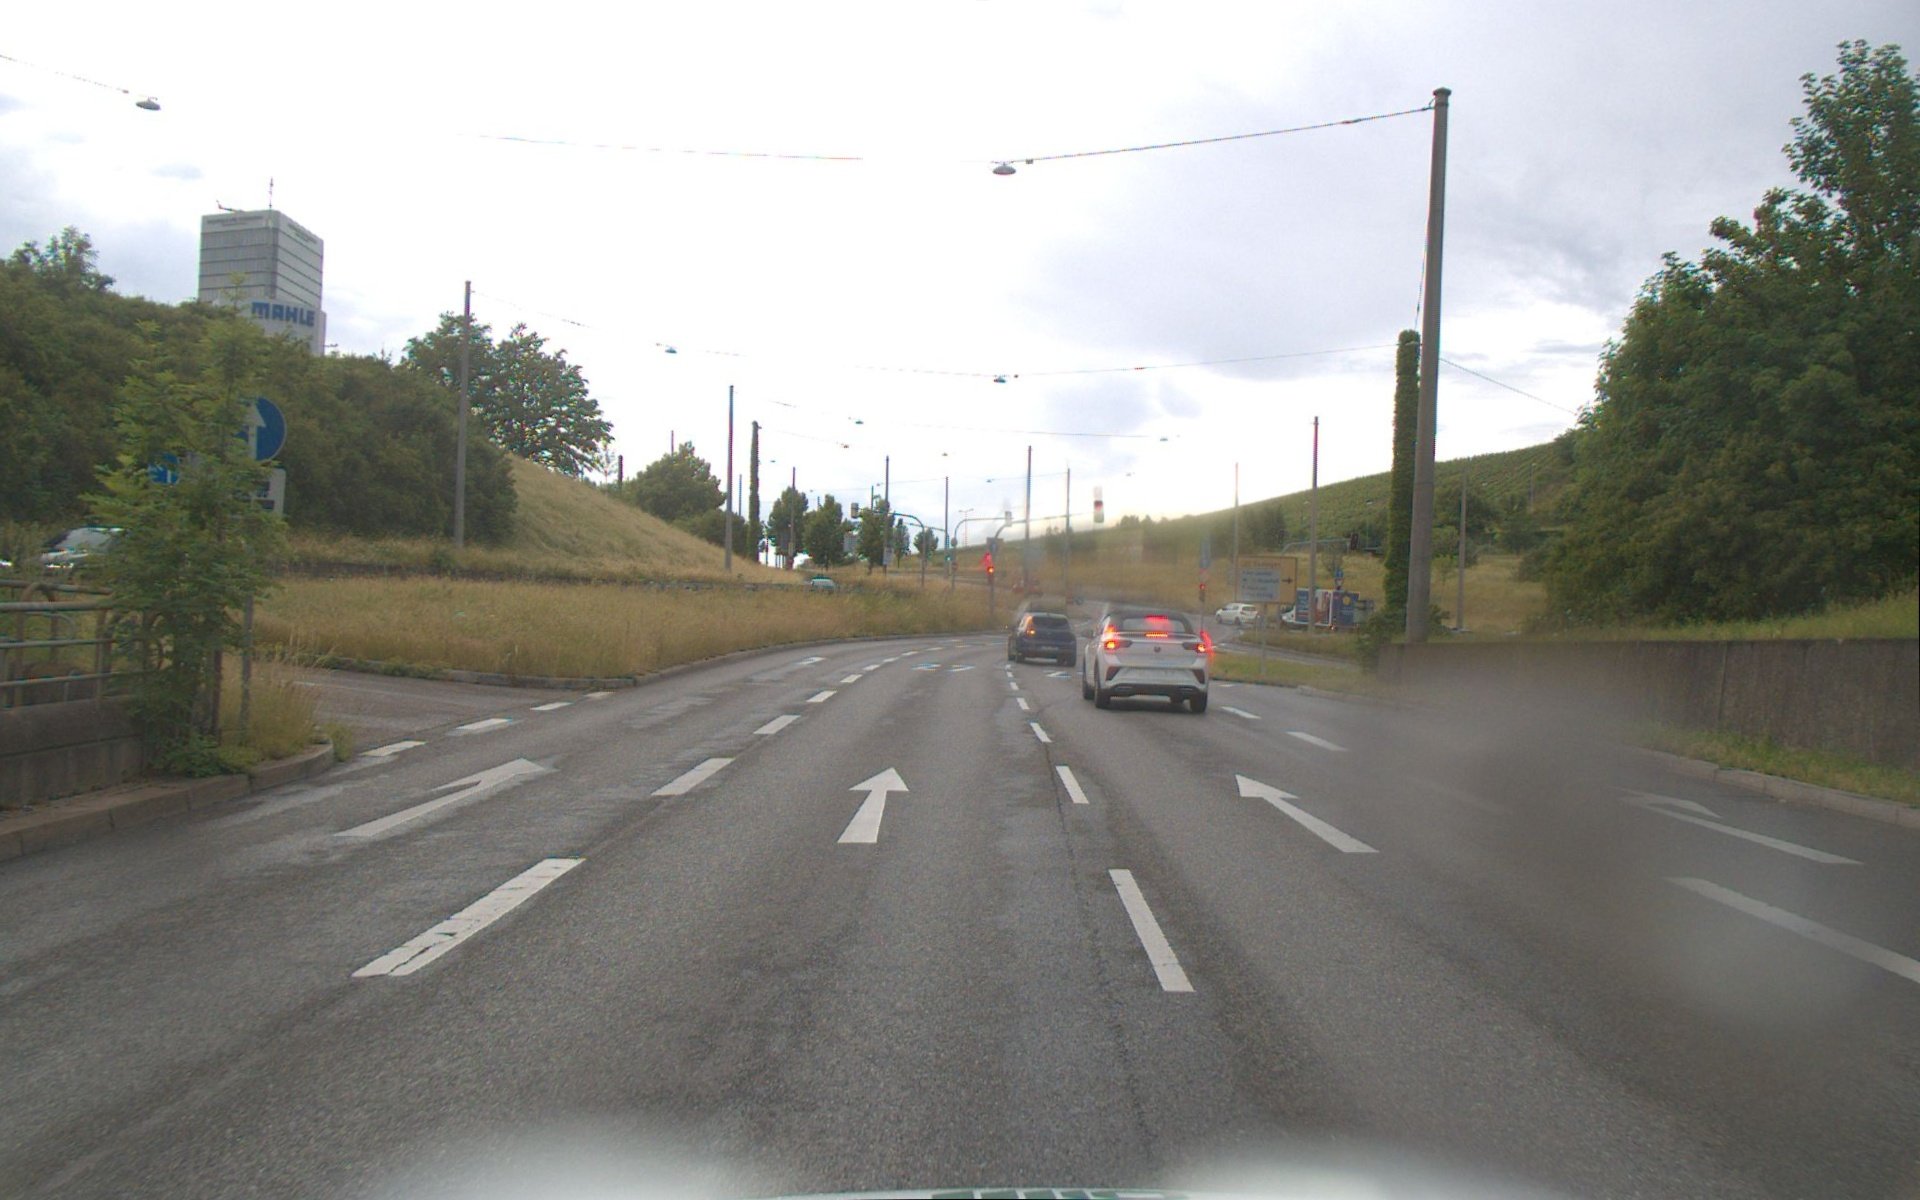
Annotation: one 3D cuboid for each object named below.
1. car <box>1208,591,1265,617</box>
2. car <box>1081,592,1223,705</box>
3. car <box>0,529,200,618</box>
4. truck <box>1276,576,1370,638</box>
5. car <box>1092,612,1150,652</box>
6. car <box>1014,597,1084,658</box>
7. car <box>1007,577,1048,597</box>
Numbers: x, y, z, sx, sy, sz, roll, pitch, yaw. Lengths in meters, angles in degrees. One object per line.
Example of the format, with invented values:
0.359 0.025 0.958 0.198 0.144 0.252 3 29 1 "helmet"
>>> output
19.390 0.271 116.340 1.964 1.527 4.538 1 3 -20 "car"
3.056 0.772 27.128 1.954 1.606 4.126 3 -1 2 "car"
-18.531 -0.514 35.606 1.953 1.665 4.723 4 0 2 "car"
23.207 0.415 106.139 2.808 3.587 6.196 1 3 -22 "truck"
6.924 1.358 70.813 1.737 1.545 3.727 4 0 16 "car"
2.657 0.828 48.533 1.886 1.627 4.063 2 -1 5 "car"
6.138 -1.177 151.024 1.967 1.742 4.530 1 1 -23 "car"
